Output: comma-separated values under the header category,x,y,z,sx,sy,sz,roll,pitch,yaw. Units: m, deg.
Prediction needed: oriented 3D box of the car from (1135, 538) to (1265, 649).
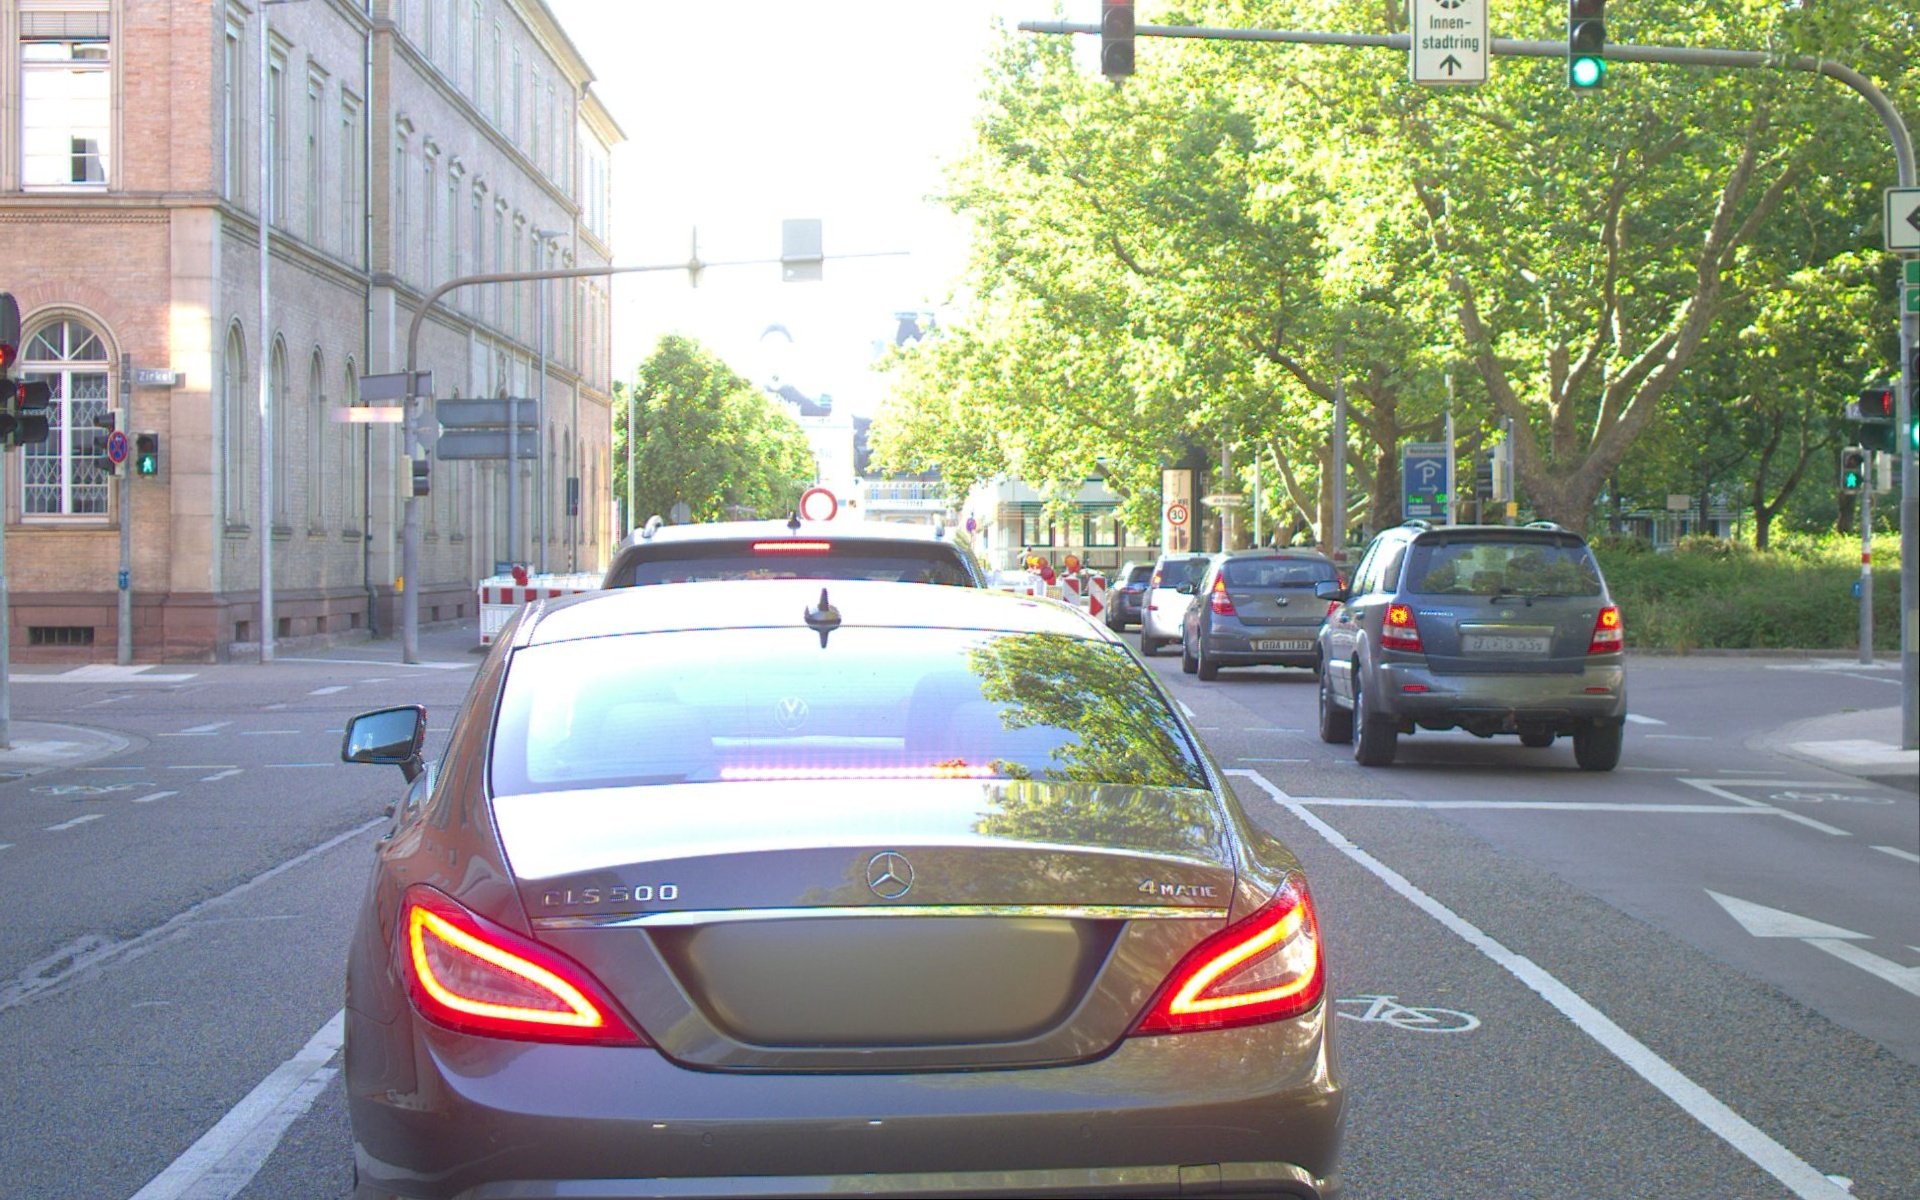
category,x,y,z,sx,sy,sz,roll,pitch,yaw
car,3.735,-0.119,53.968,1.731,1.656,3.681,1,1,-1

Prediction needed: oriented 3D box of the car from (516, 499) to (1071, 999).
category,x,y,z,sx,sy,sz,roll,pitch,yaw
car,-0.584,0.470,13.617,1.861,1.677,4.000,1,1,-1

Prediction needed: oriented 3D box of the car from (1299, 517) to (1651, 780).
category,x,y,z,sx,sy,sz,roll,pitch,yaw
car,3.690,0.289,25.403,1.861,1.758,4.482,1,1,-1

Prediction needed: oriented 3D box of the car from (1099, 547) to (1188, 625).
category,x,y,z,sx,sy,sz,roll,pitch,yaw
car,3.779,-0.305,71.219,1.601,1.543,3.681,1,1,-1

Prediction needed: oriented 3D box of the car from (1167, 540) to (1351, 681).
category,x,y,z,sx,sy,sz,roll,pitch,yaw
car,3.366,0.081,39.314,1.704,1.514,4.000,1,1,-1

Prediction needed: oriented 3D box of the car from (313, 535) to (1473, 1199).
category,x,y,z,sx,sy,sz,roll,pitch,yaw
car,-0.364,0.625,7.487,1.861,1.514,4.001,0,1,-8

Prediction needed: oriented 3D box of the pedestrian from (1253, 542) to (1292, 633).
category,x,y,z,sx,sy,sz,roll,pitch,yaw
pedestrian,6.172,-0.252,67.909,0.635,1.791,0.699,1,0,-4

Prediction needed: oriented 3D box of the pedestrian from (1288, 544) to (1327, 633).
category,x,y,z,sx,sy,sz,roll,pitch,yaw
pedestrian,6.871,-0.232,67.972,0.635,1.754,0.699,1,0,-4

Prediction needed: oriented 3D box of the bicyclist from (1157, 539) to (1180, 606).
category,x,y,z,sx,sy,sz,roll,pitch,yaw
bicyclist,6.356,-0.849,104.947,0.594,2.032,0.566,1,0,-4
